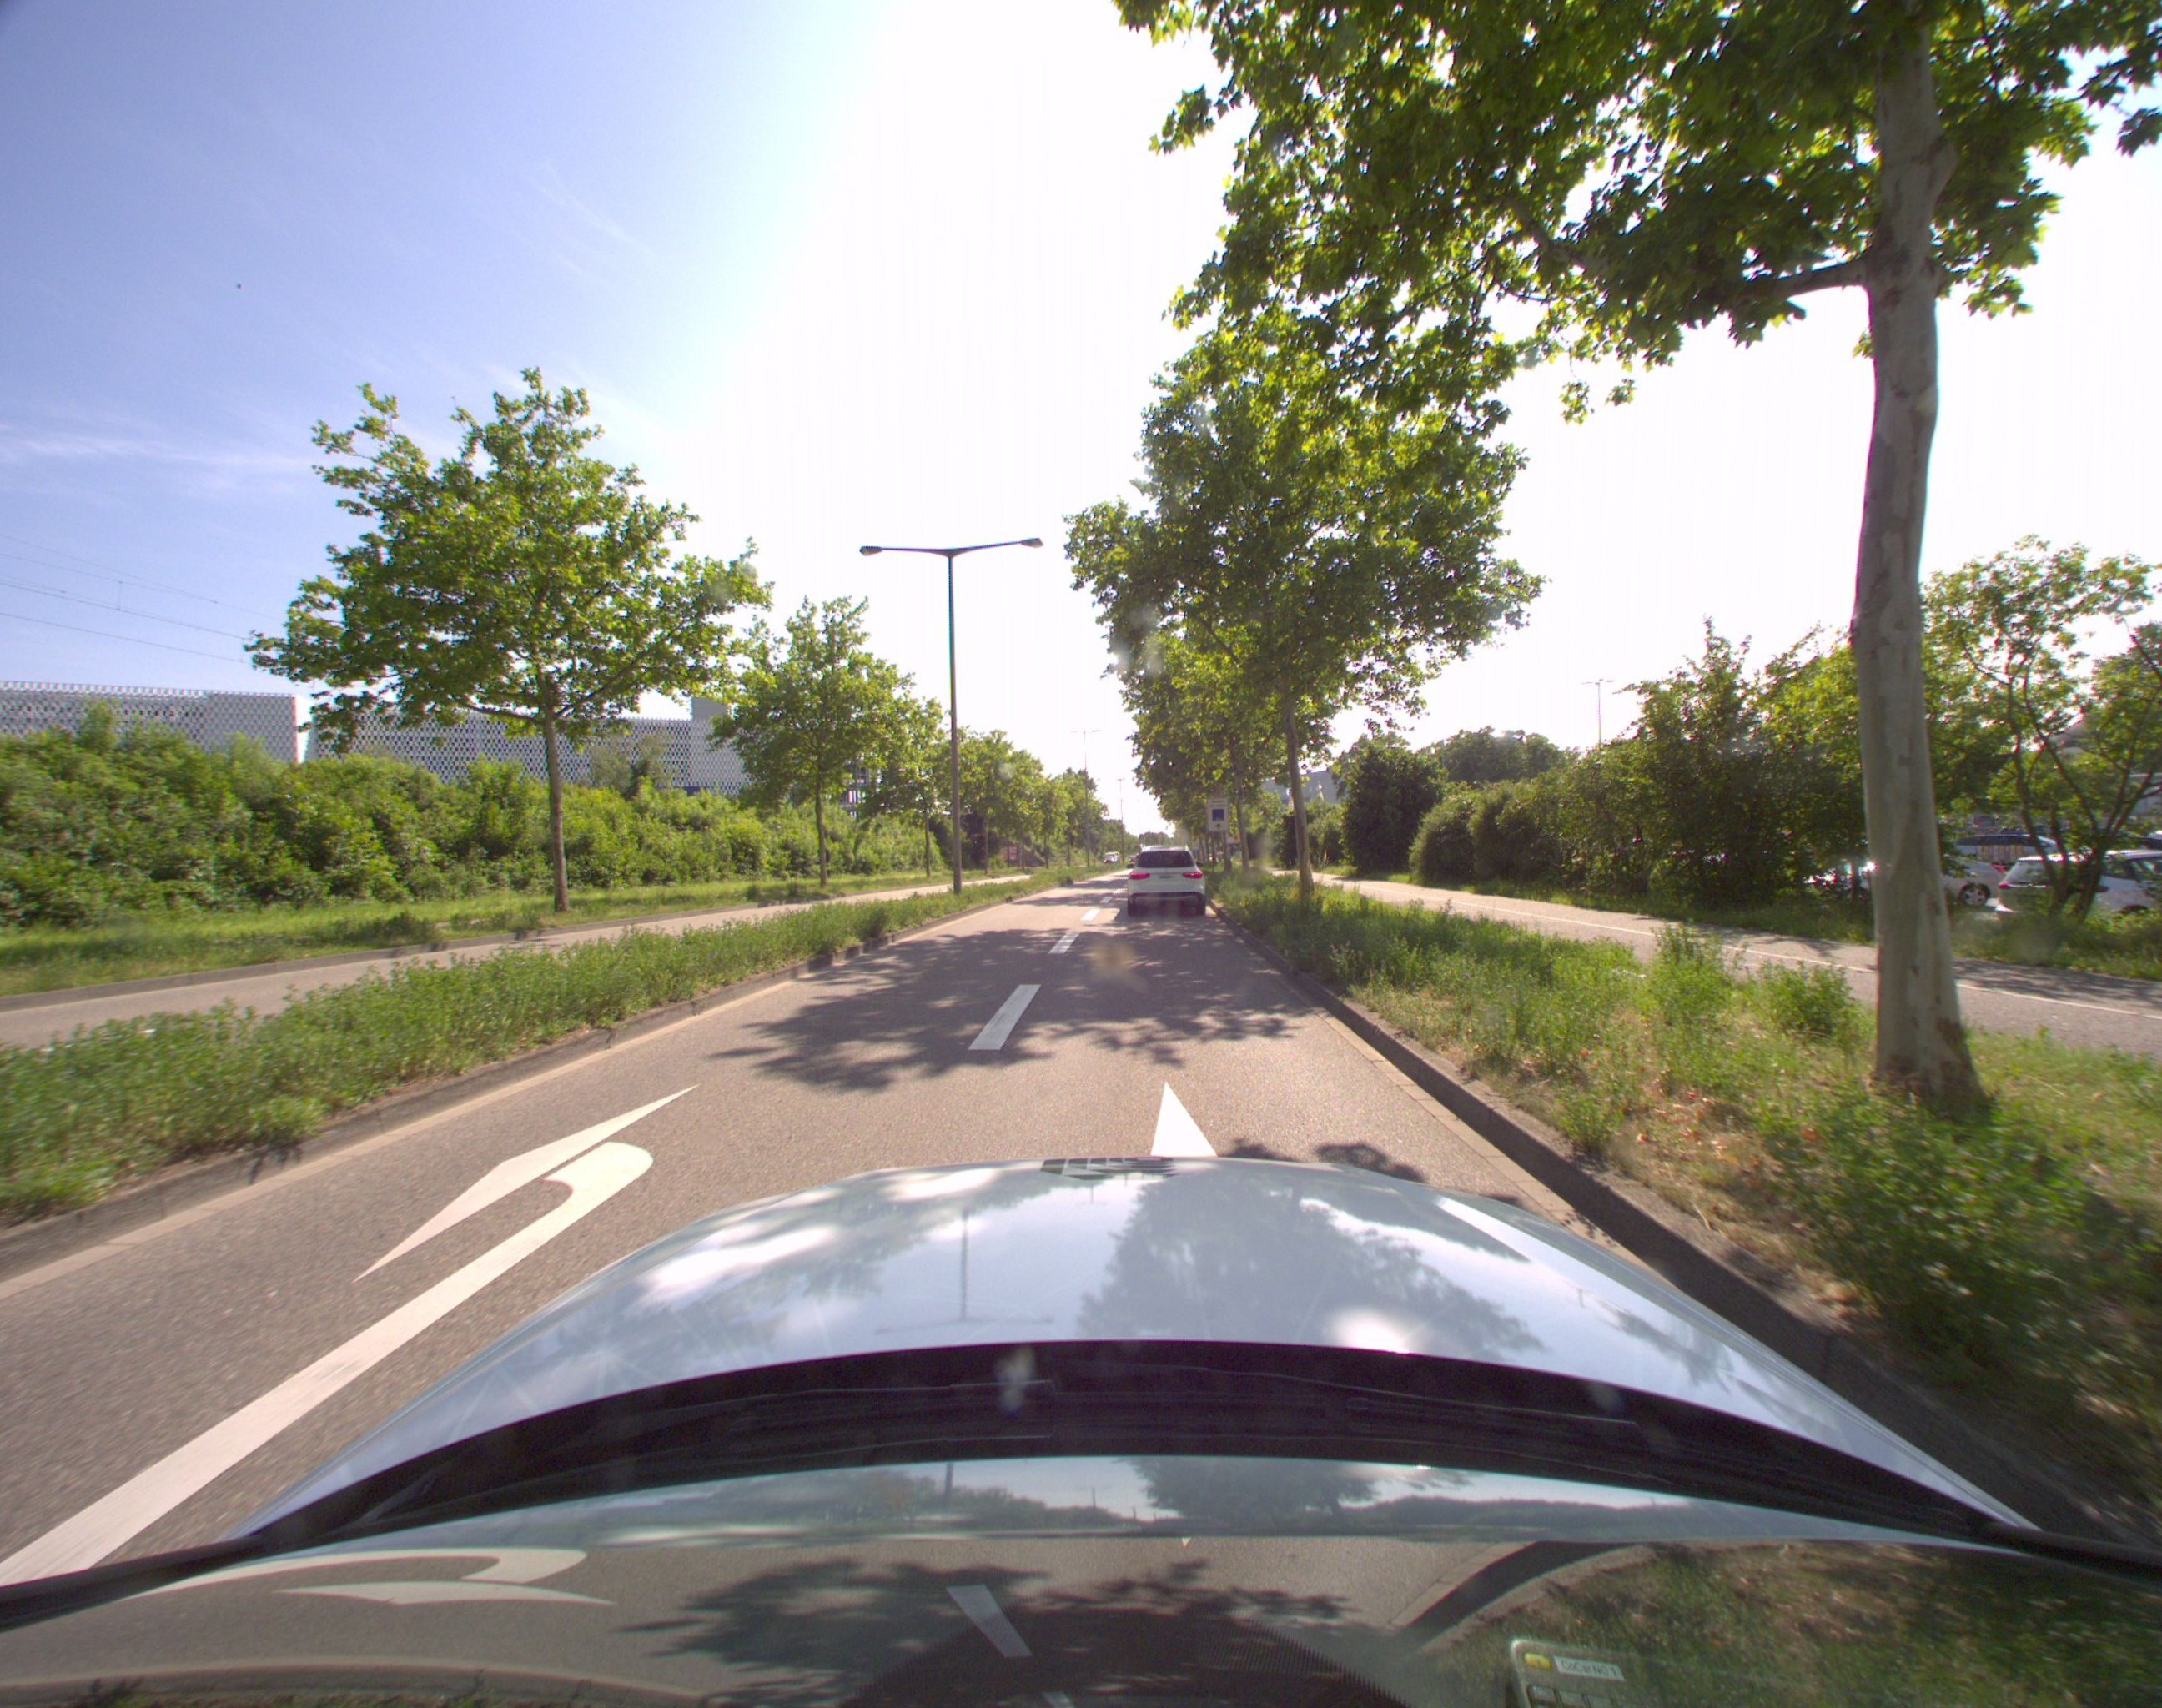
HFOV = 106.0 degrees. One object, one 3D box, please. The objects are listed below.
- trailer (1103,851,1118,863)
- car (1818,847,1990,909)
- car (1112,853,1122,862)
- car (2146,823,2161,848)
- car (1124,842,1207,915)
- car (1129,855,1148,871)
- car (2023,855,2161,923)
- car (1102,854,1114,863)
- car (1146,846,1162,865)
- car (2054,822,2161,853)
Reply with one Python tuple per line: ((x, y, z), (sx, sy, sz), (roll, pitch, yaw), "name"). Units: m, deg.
((5.682, 0.552, 157.148), (2.296, 2.265, 5.550), (-2, -1, 8), "trailer")
((21.566, 0.628, 21.413), (3.138, 1.455, 1.196), (-3, -1, 4), "car")
((8.022, 0.806, 181.228), (1.754, 1.790, 5.387), (0, 0, 8), "car")
((66.100, -1.136, 47.941), (1.759, 1.526, 3.960), (-1, 0, -32), "car")
((2.027, 0.561, 20.319), (1.845, 1.607, 4.004), (-1, 0, 3), "car")
((6.460, 0.981, 90.582), (1.761, 1.647, 4.361), (-1, -1, 8), "car")
((20.410, 0.626, 15.240), (3.942, 1.225, 1.196), (0, -1, 4), "car")
((5.030, 0.816, 152.209), (1.706, 1.622, 4.370), (-2, -1, 8), "car")
((10.724, 0.188, 119.122), (2.070, 2.656, 4.884), (-1, -1, 8), "car")
((54.777, -0.854, 43.095), (1.758, 1.526, 3.962), (-1, 0, -30), "car")
